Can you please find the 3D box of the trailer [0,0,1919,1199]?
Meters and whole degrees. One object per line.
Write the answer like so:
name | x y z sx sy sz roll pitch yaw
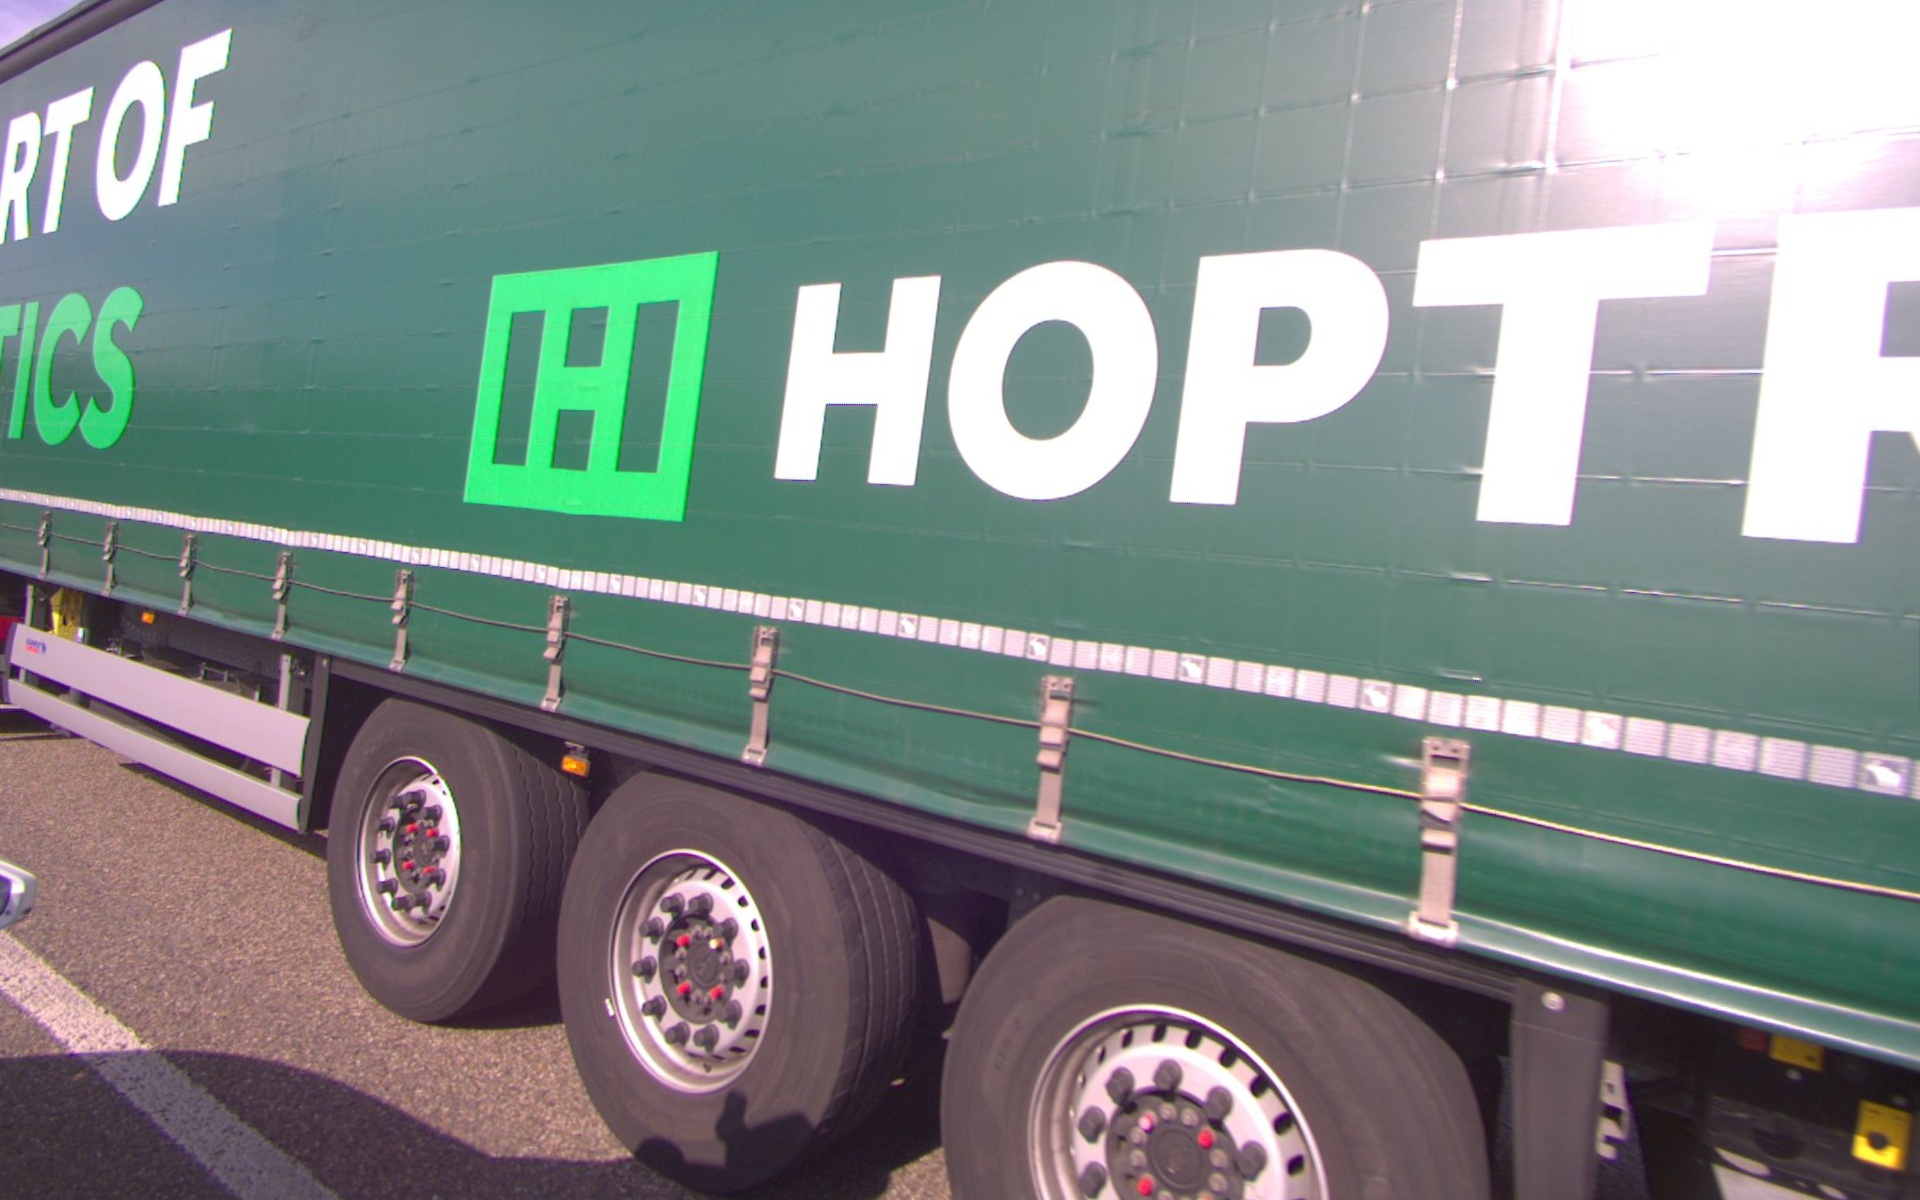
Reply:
trailer | -1.892 -0.638 4.731 13.173 3.914 2.666 6 -1 32

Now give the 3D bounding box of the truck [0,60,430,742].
truck | -7.981 -1.331 8.565 6.880 3.914 2.652 6 -1 32
